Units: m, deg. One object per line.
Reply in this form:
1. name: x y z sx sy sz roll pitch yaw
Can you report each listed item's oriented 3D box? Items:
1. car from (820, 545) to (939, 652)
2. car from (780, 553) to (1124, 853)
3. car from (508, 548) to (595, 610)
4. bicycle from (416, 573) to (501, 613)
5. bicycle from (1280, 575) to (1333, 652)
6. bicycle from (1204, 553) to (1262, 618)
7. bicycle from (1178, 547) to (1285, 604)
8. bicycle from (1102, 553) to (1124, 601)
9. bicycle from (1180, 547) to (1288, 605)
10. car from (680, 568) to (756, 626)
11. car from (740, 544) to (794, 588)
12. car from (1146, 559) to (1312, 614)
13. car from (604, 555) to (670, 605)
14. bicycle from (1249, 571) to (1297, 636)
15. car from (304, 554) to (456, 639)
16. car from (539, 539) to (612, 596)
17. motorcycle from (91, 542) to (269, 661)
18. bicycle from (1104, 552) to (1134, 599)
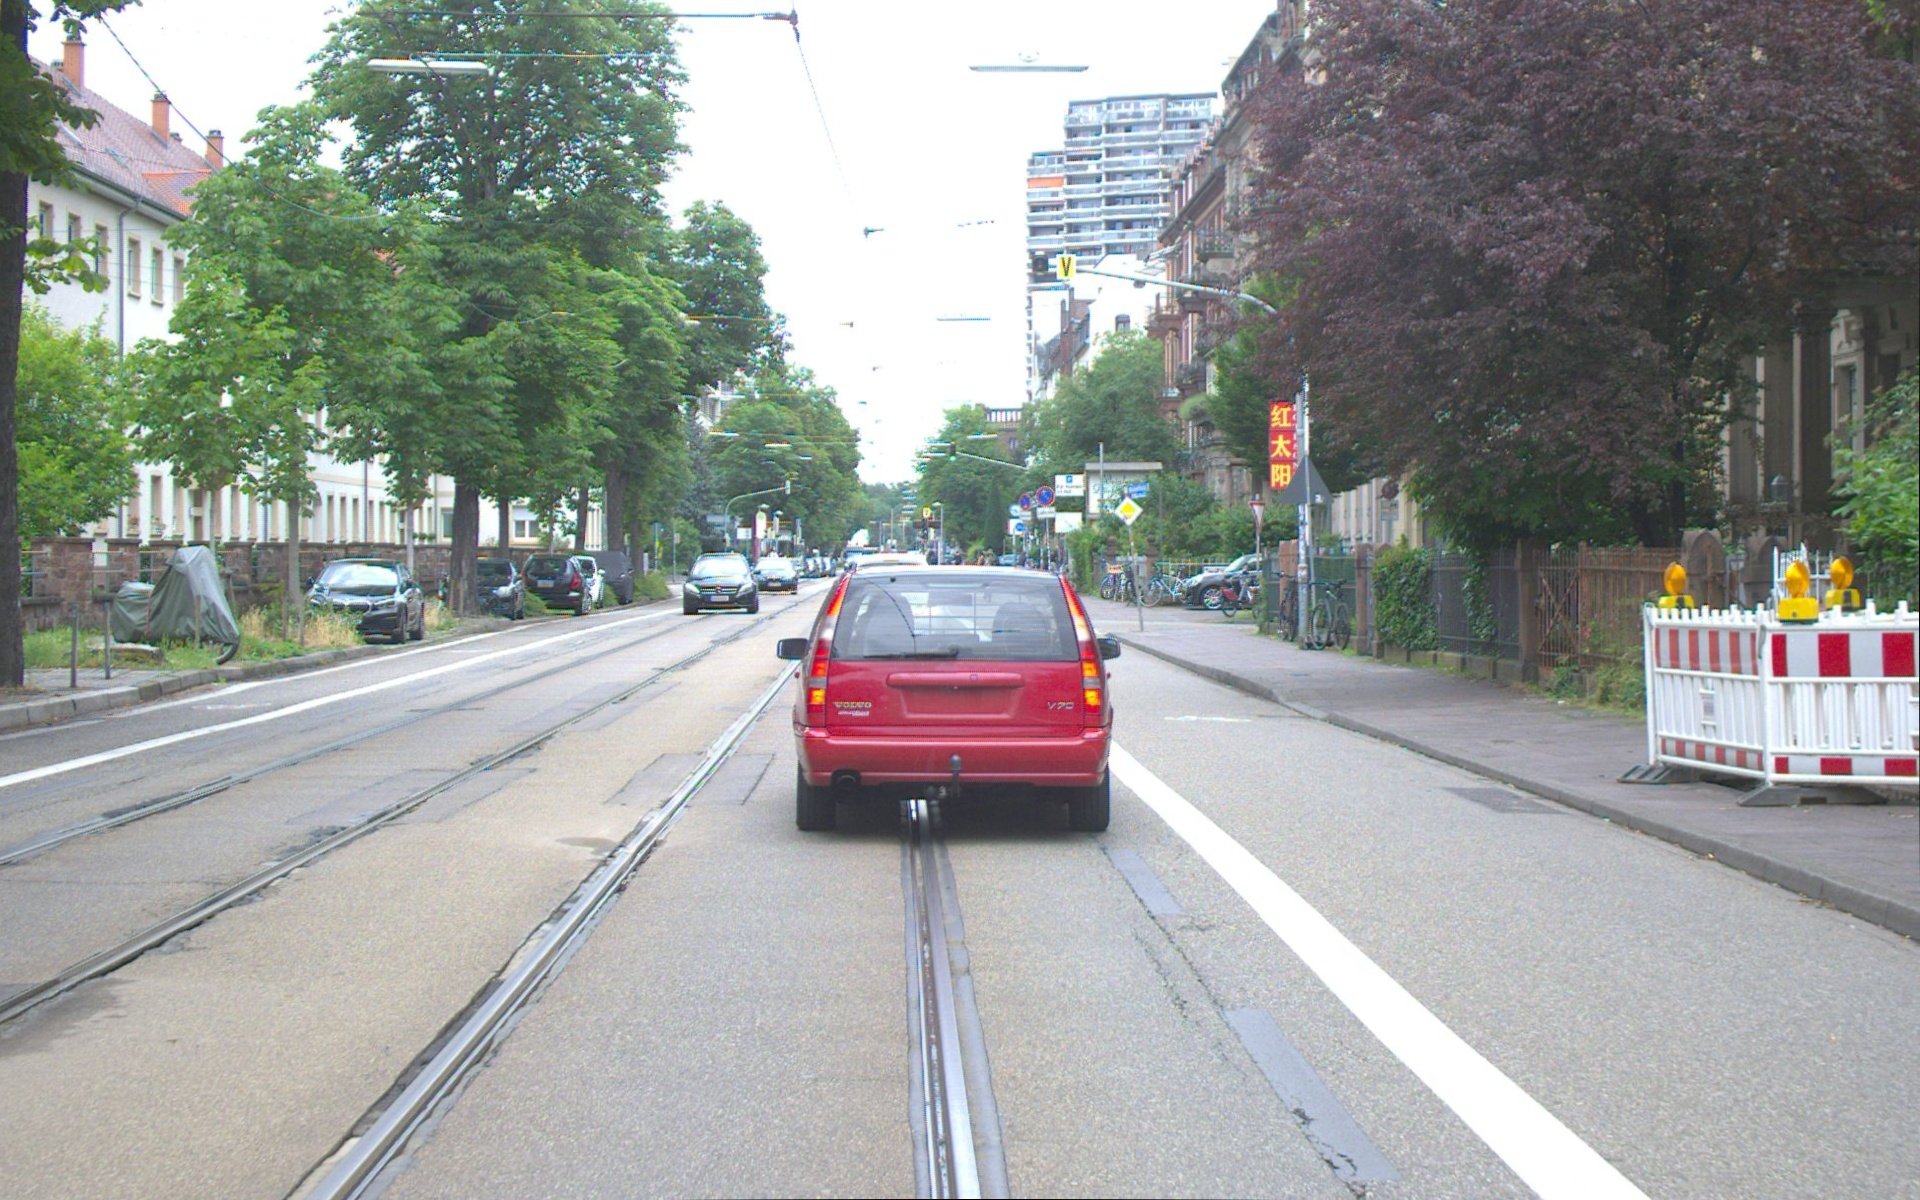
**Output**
1. car: -1.250 -0.050 54.579 1.719 1.619 3.941 1 1 1
2. car: -0.077 0.493 19.128 1.689 1.436 3.743 1 1 -1
3. car: -10.626 -0.575 89.718 1.851 1.558 3.943 1 1 -1
4. bicycle: -10.955 -0.162 75.152 1.748 0.841 0.684 1 1 0
5. bicycle: 5.146 0.188 51.165 0.523 1.096 2.176 0 1 -1
6. bicycle: 6.520 -0.356 81.928 0.918 1.502 2.379 1 1 16
7. bicycle: 7.926 -0.725 100.442 2.975 1.619 1.050 1 1 -3
8. bicycle: 4.512 -0.678 101.400 0.551 1.395 1.734 0 1 -1
9. bicycle: 7.852 -0.698 98.623 2.975 1.619 1.050 1 1 -3
10. car: -6.014 -0.101 85.748 1.755 1.375 4.027 0 1 -2
11. car: -7.339 -1.308 131.134 1.894 1.605 4.500 1 1 -1
12. car: 6.763 -0.348 86.275 3.988 1.357 1.891 0 1 9
13. car: -9.941 -0.631 106.039 1.720 1.481 4.000 0 1 -1
14. bicycle: 5.095 0.042 56.040 0.523 1.027 2.176 0 1 -1
15. car: -10.084 -0.090 60.040 1.890 1.393 4.417 1 1 0
16. car: -11.316 -0.973 101.367 1.713 1.575 4.000 2 1 -1
17. motorcycle: -10.177 0.020 44.832 2.269 1.506 0.925 1 -1 34
18. bicycle: 4.511 -0.701 97.625 0.708 1.296 1.904 0 1 -1
